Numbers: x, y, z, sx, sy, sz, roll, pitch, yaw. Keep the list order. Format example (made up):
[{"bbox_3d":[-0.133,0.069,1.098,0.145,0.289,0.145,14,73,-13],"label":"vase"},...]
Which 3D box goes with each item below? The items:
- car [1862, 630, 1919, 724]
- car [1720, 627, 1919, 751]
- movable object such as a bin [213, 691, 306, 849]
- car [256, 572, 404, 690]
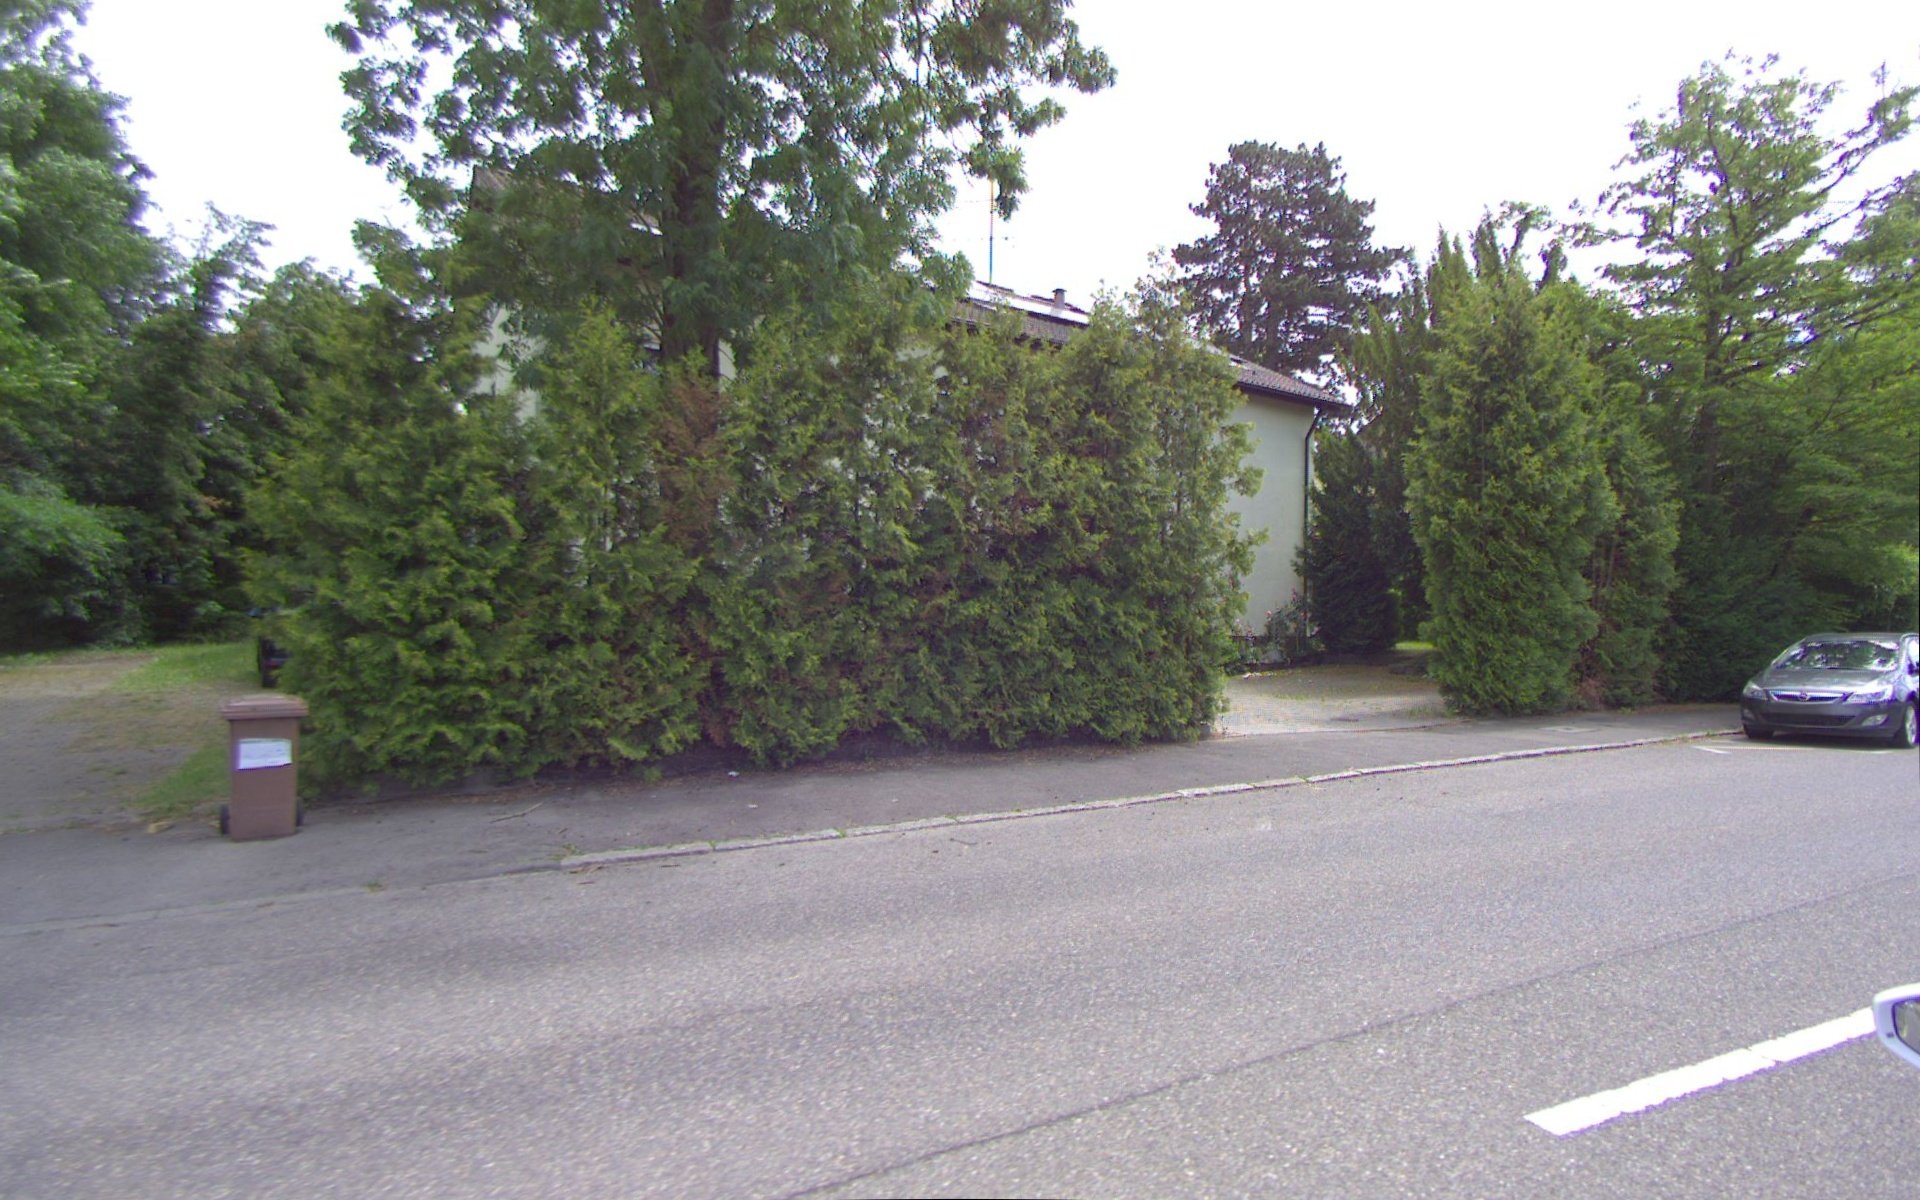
[{"bbox_3d":[17.367,1.279,17.232,3.917,1.524,1.728,1,-2,-31],"label":"car"},{"bbox_3d":[12.782,1.163,14.309,4.429,1.524,1.727,1,-2,-33],"label":"car"},{"bbox_3d":[-4.715,1.121,6.759,0.427,0.942,0.458,2,3,-43],"label":"movable object such as a bin"},{"bbox_3d":[-10.565,0.434,16.717,1.866,1.706,3.841,1,0,-35],"label":"car"}]
